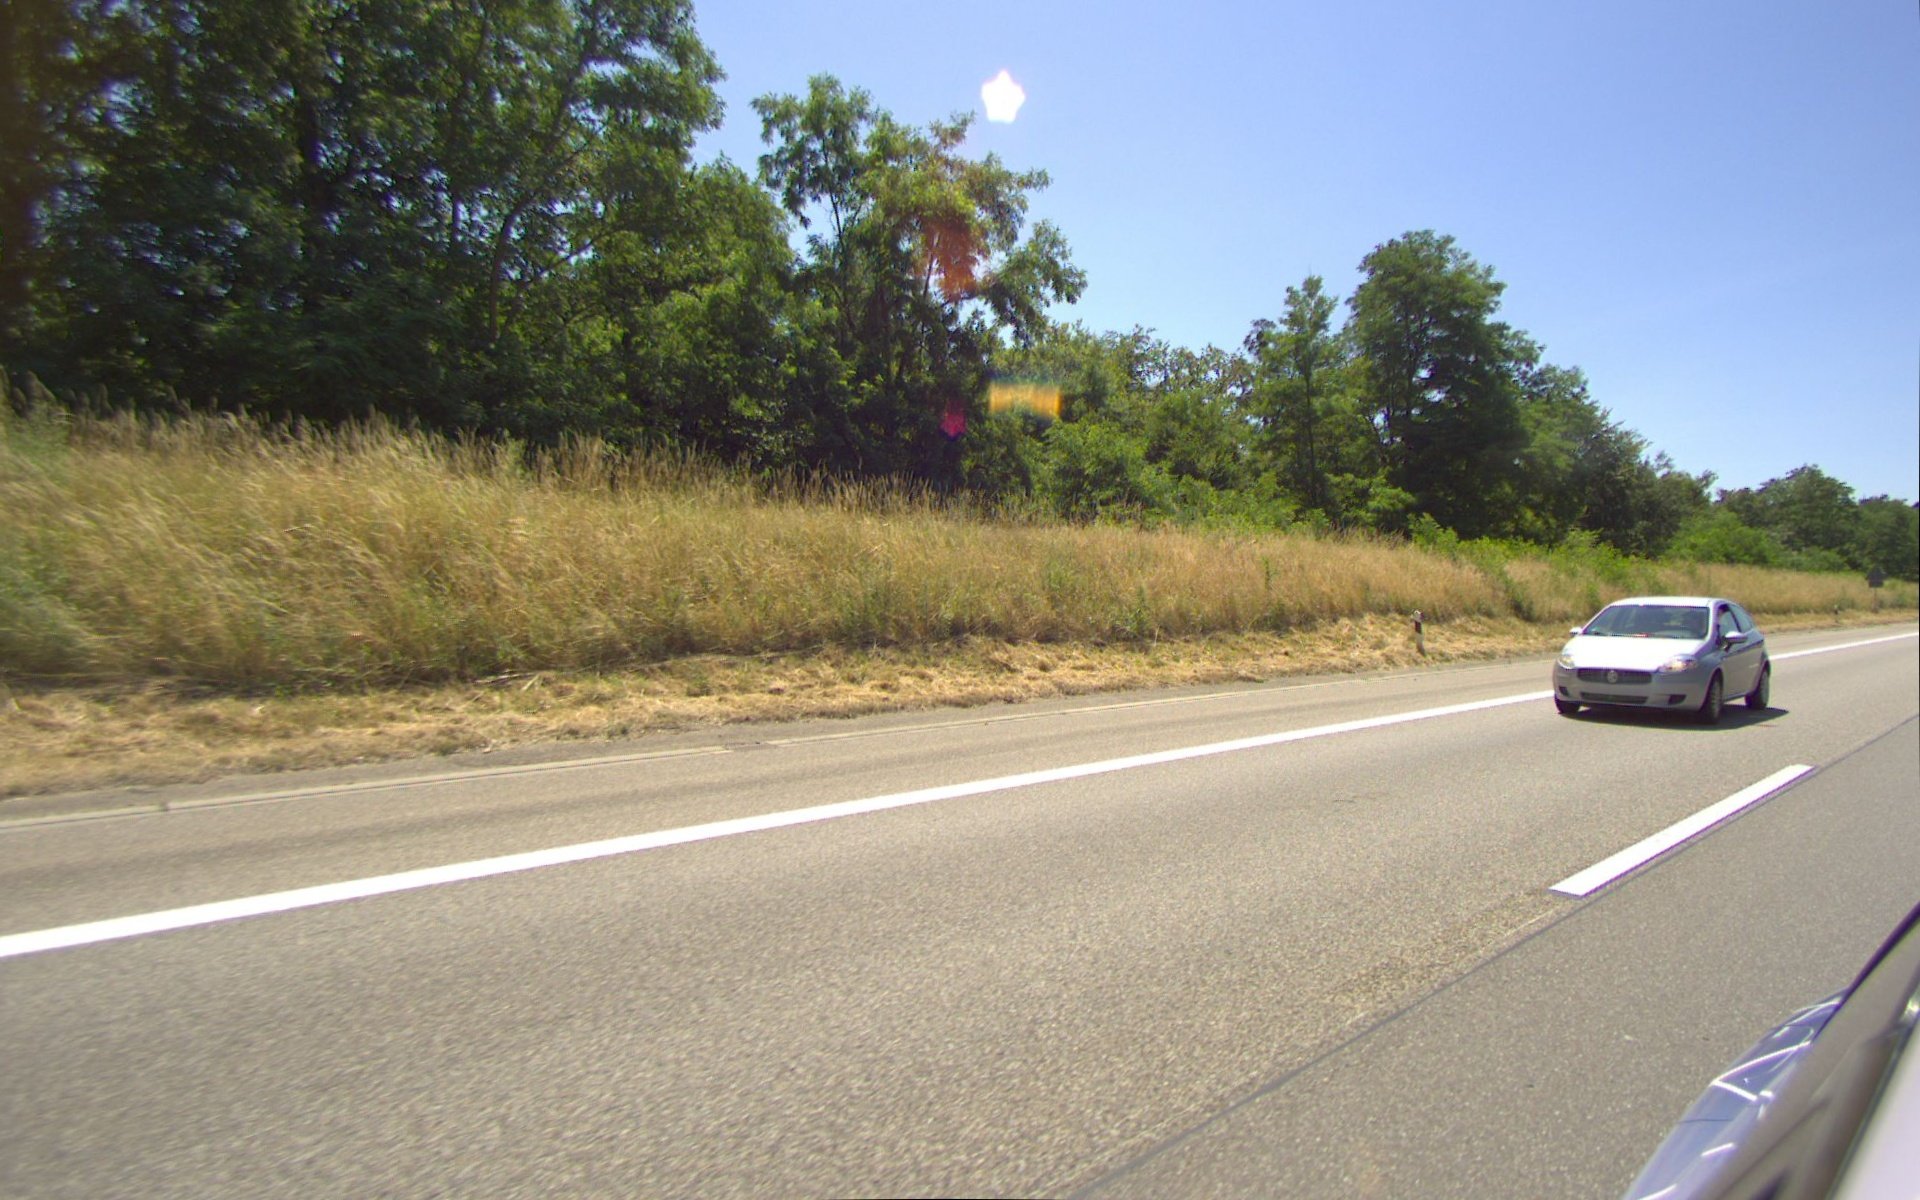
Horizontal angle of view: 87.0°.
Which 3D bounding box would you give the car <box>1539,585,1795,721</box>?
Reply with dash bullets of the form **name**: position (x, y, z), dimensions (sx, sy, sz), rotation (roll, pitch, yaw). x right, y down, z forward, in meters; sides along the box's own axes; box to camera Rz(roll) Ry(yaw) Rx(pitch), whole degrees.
- **car**: position (9.174, 0.563, 13.030), dimensions (3.910, 1.484, 1.748), rotation (-1, 0, -40)
